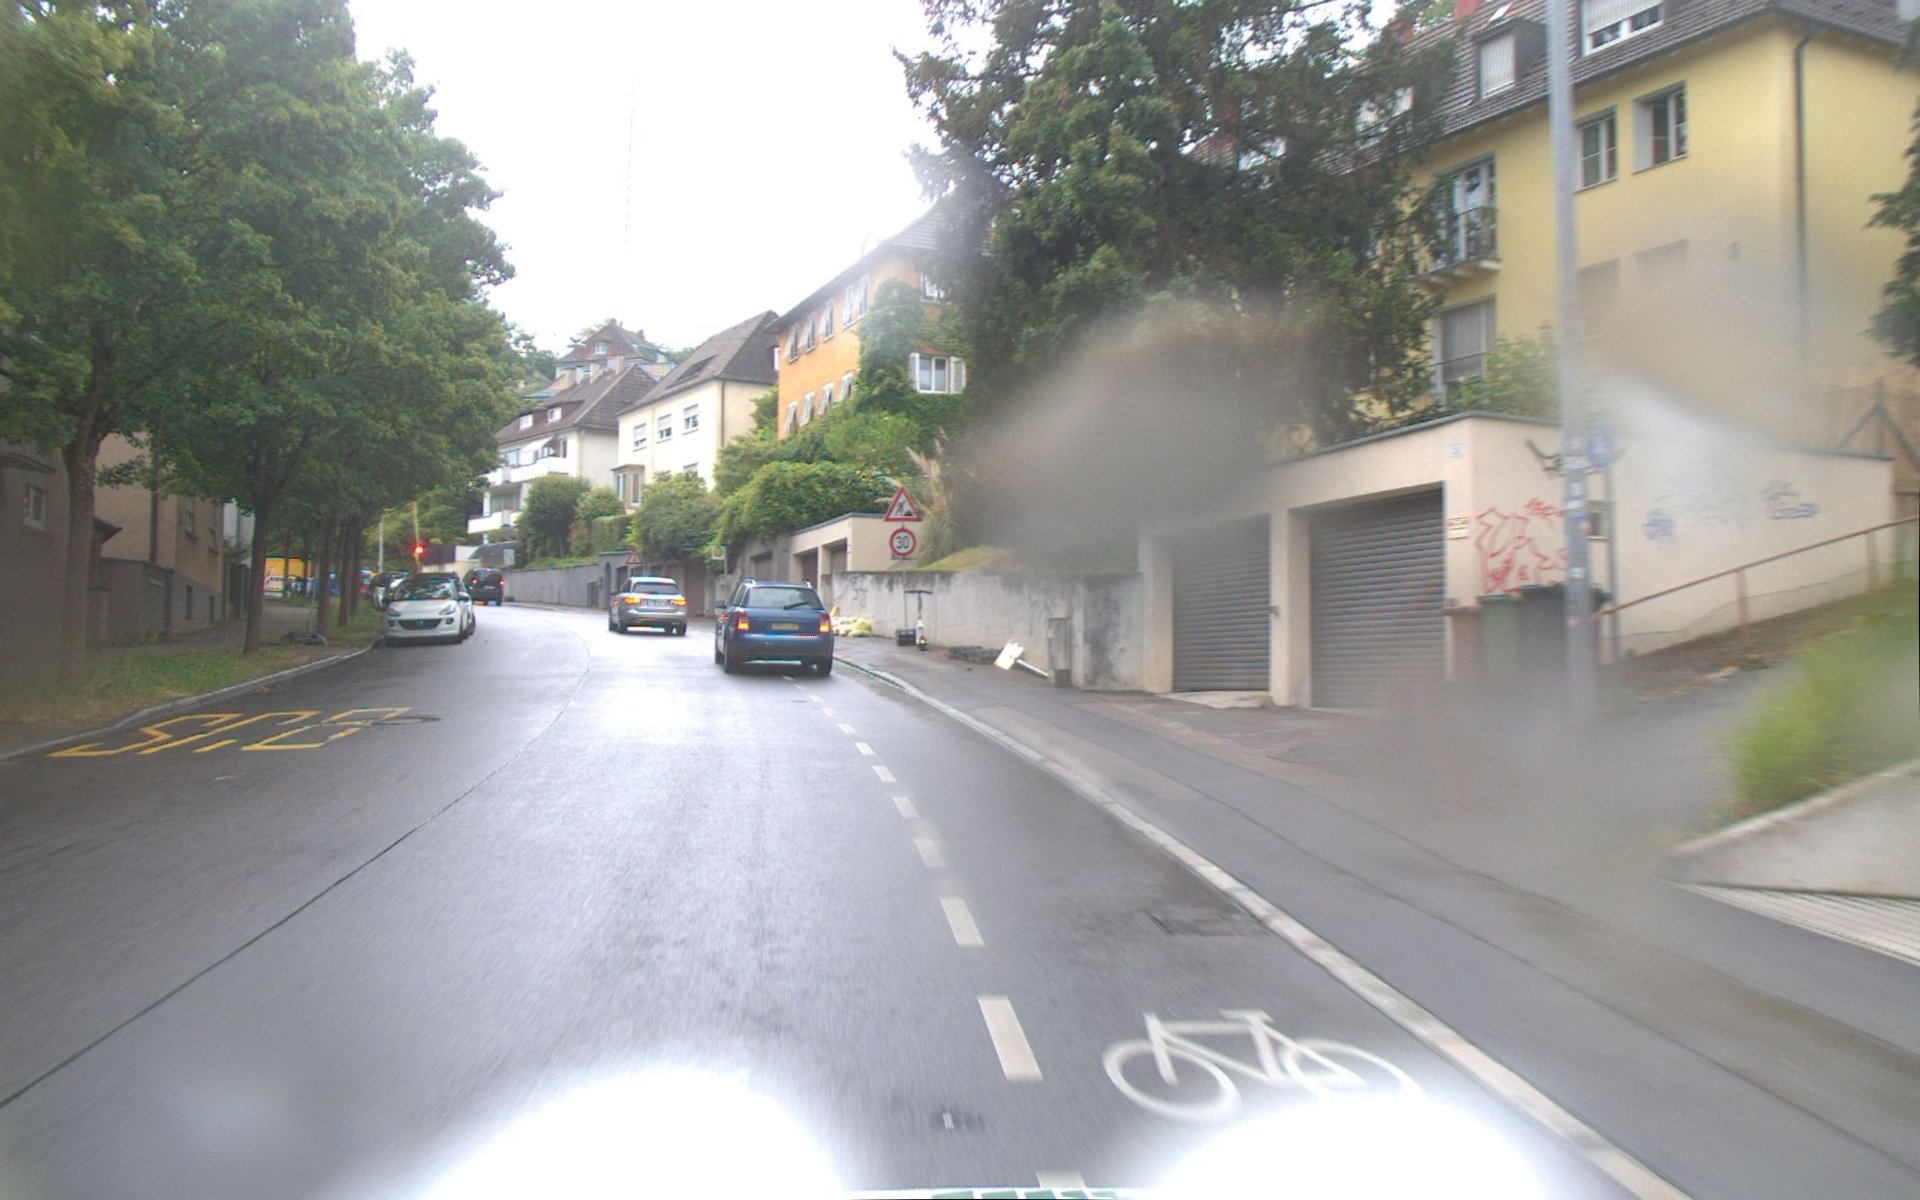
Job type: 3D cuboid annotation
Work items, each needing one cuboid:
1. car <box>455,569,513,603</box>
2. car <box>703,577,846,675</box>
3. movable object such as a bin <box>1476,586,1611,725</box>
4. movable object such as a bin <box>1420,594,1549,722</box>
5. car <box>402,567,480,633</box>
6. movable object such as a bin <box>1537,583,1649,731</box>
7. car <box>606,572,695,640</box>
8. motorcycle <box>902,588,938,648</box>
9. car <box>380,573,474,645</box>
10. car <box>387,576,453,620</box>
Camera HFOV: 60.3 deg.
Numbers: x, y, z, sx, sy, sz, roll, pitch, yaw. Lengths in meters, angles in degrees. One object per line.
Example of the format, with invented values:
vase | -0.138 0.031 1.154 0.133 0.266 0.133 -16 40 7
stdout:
car | -24.656 -0.721 85.624 1.973 1.713 3.958 -1 1 -31
car | -3.155 0.392 27.401 1.822 1.438 4.346 -1 0 -14
movable object such as a bin | 5.310 0.487 15.062 0.848 1.206 0.781 -1 0 -24
movable object such as a bin | 5.001 0.536 15.792 0.848 1.162 0.793 -1 0 -24
car | -13.537 -0.017 43.073 1.849 1.624 3.979 -1 1 -18
movable object such as a bin | 5.509 0.479 14.406 0.693 1.244 0.576 -1 0 -24
car | -8.338 0.123 44.301 1.919 1.588 4.245 1 2 -16
motorcycle | -0.795 0.333 32.728 0.538 1.151 1.437 0 1 -8
car | -12.359 0.169 38.339 1.963 1.556 3.979 -1 1 -18
car | -19.966 -0.076 61.034 1.967 1.501 3.971 -1 0 -23
